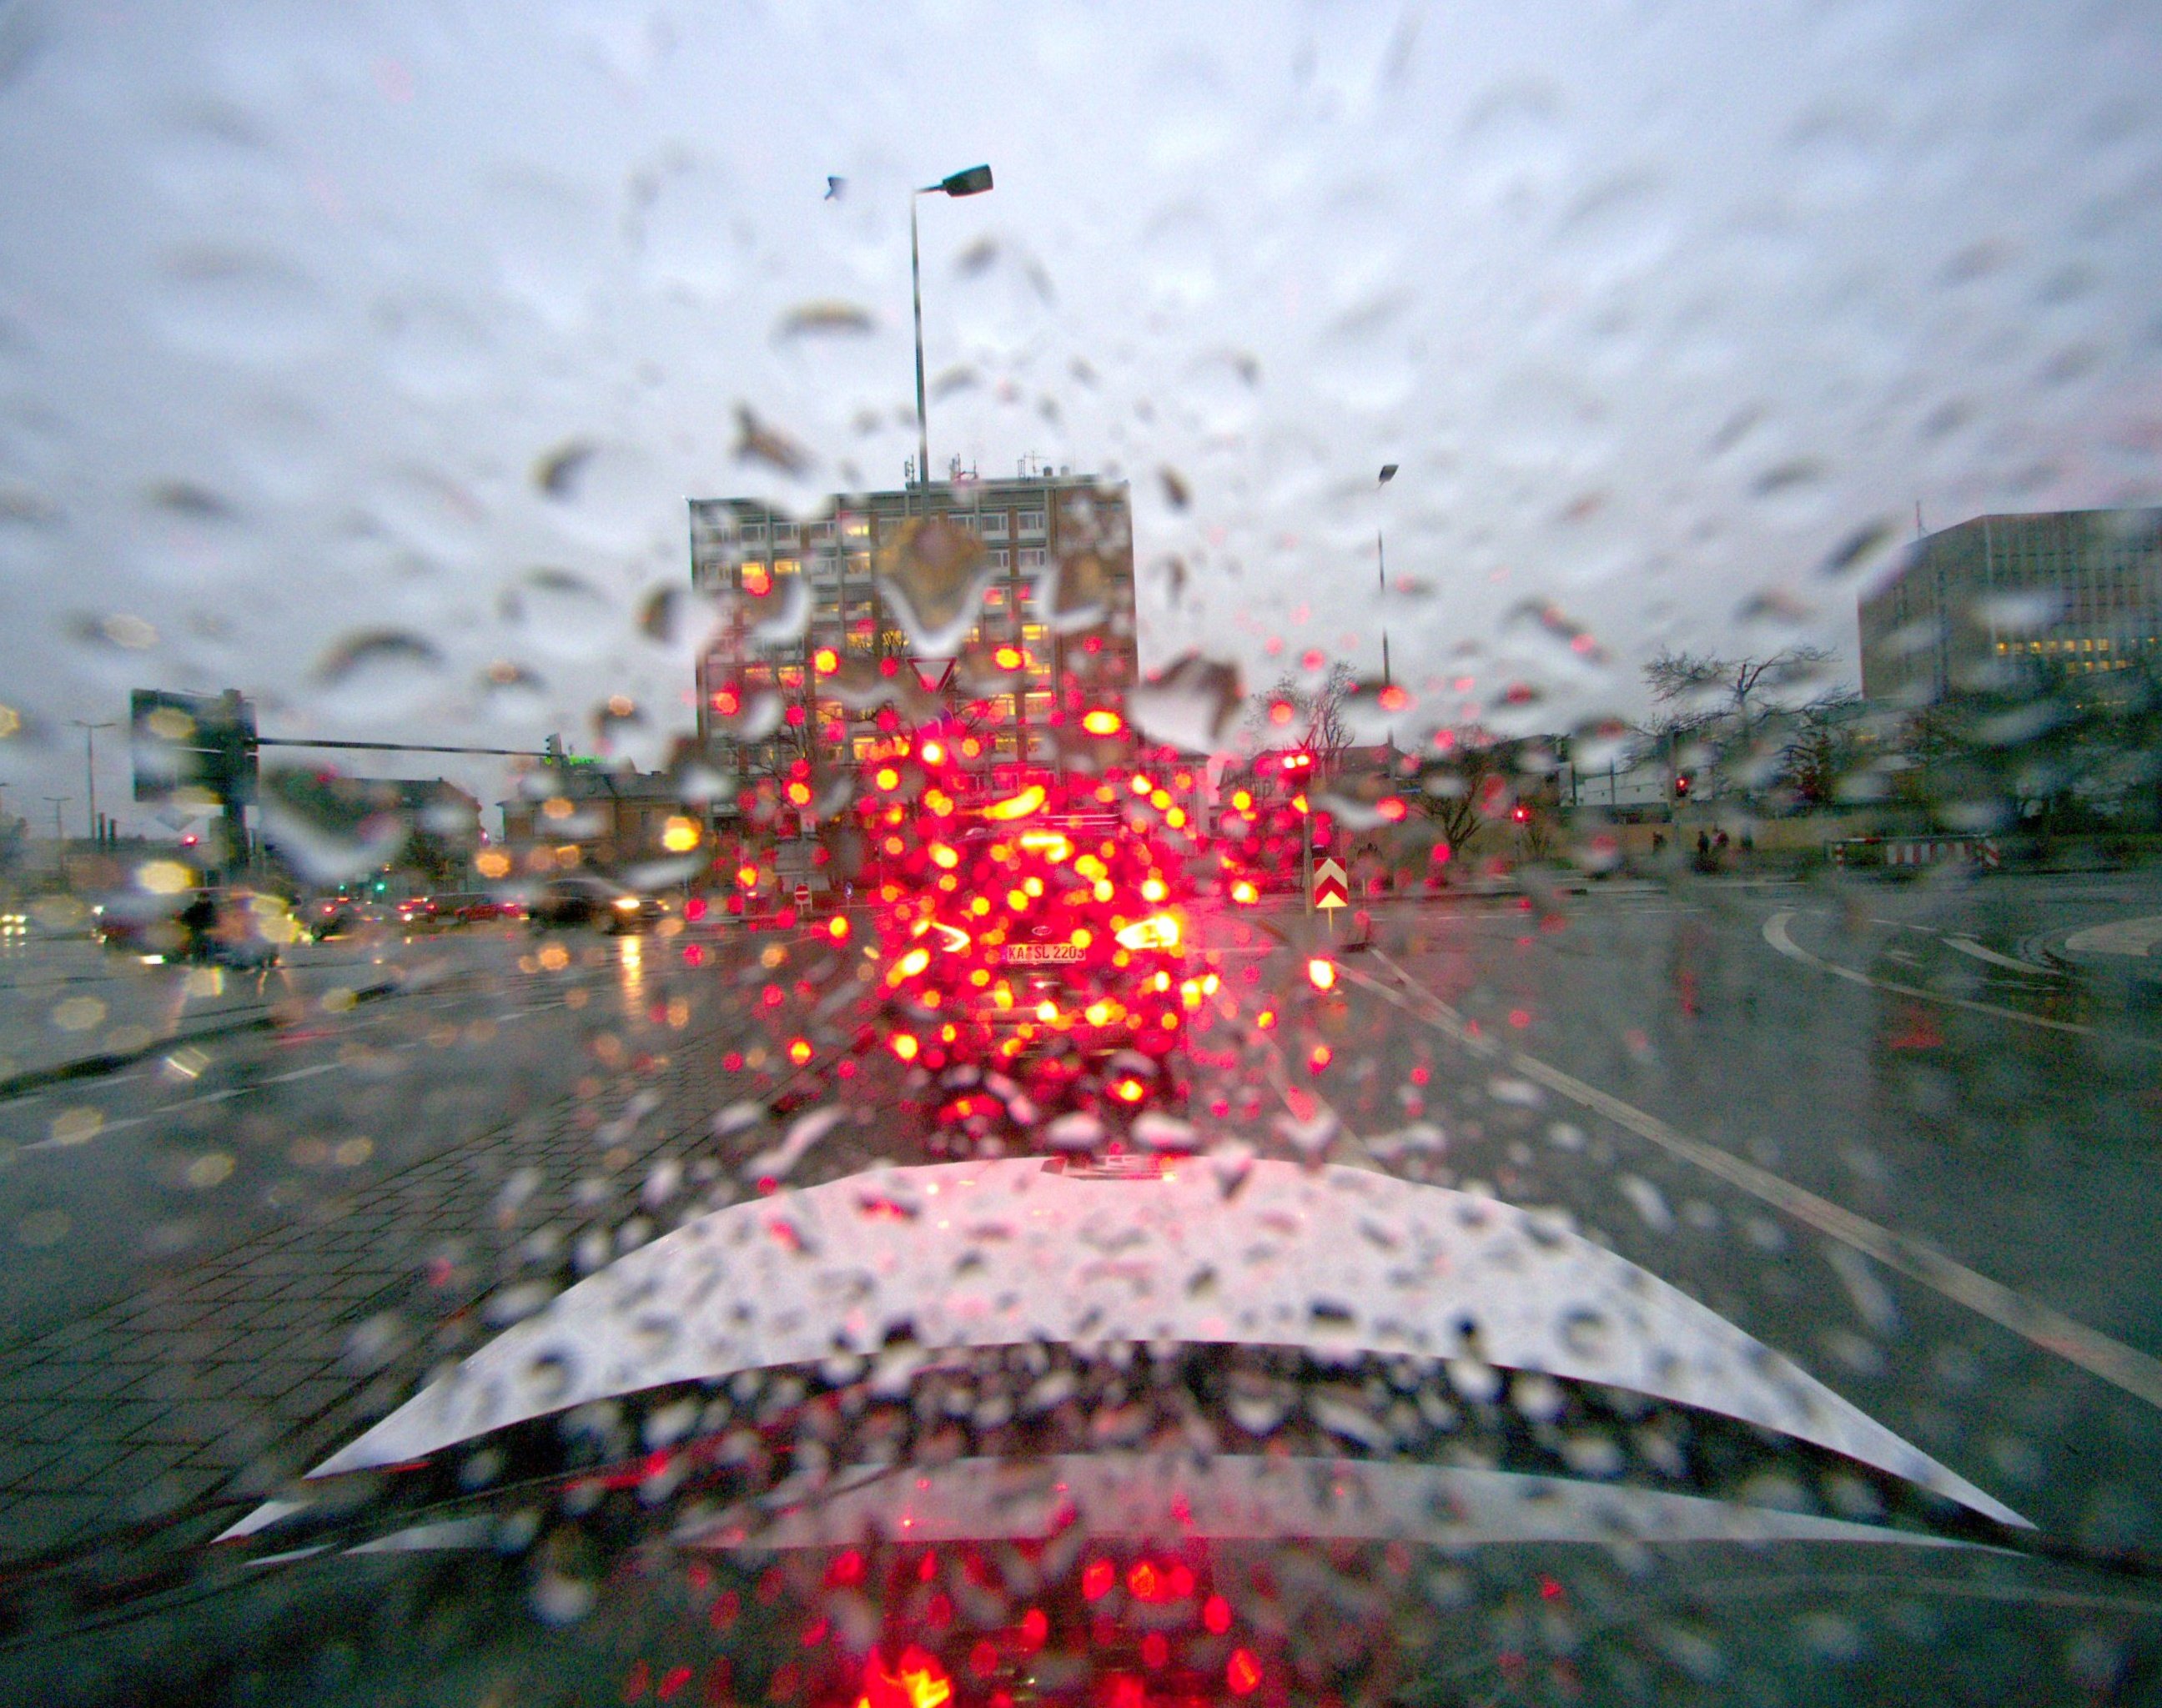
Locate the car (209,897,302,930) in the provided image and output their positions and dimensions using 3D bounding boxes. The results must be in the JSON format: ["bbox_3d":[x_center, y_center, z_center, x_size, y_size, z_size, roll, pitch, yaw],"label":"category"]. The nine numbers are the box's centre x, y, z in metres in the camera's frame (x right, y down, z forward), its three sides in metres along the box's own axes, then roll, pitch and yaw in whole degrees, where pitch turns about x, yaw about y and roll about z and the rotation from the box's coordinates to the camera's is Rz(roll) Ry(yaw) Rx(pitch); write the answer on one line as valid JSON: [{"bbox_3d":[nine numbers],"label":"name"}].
[{"bbox_3d":[-53.143,3.817,52.414,5.114,1.913,2.008,-2,-1,17],"label":"car"}]

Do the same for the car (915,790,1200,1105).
[{"bbox_3d":[-0.075,0.540,6.768,1.641,1.819,4.002,-1,0,2],"label":"car"}]

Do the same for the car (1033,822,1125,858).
[{"bbox_3d":[-0.100,-0.857,51.180,5.516,2.024,2.004,-1,-2,7],"label":"car"}]

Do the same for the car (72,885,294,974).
[{"bbox_3d":[-25.210,2.060,22.908,4.981,2.282,2.268,-2,-2,18],"label":"car"}]

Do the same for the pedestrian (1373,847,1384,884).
[{"bbox_3d":[15.166,0.592,41.526,0.434,1.839,0.462,-2,-2,20],"label":"pedestrian"}]

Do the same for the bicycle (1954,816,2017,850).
[{"bbox_3d":[41.103,-0.947,37.012,1.911,1.423,0.594,-1,-2,10],"label":"bicycle"}]

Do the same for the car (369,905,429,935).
[{"bbox_3d":[-38.541,3.696,46.036,3.368,1.605,1.576,-2,-2,31],"label":"car"}]

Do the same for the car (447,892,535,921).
[{"bbox_3d":[-30.348,2.676,41.891,3.762,1.398,1.570,-1,-2,14],"label":"car"}]

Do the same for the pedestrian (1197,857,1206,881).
[{"bbox_3d":[6.520,0.803,44.082,0.429,1.270,0.443,-1,-2,13],"label":"pedestrian"}]

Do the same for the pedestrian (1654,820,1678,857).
[{"bbox_3d":[28.587,-0.743,39.793,0.620,1.725,0.762,-1,-2,8],"label":"pedestrian"}]

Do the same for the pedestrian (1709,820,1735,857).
[{"bbox_3d":[30.523,-0.716,38.814,0.620,1.725,0.762,-1,-2,8],"label":"pedestrian"}]

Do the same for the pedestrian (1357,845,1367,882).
[{"bbox_3d":[14.412,0.487,41.746,0.434,1.839,0.462,-2,-2,19],"label":"pedestrian"}]

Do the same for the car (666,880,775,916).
[{"bbox_3d":[-16.956,2.071,38.402,4.400,1.580,1.975,-1,-2,15],"label":"car"}]

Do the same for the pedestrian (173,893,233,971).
[{"bbox_3d":[-19.926,1.750,18.491,0.456,1.697,0.801,-2,-2,25],"label":"pedestrian"}]

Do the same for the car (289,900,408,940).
[{"bbox_3d":[-28.827,2.586,32.075,3.800,1.449,1.610,-1,-2,14],"label":"car"}]

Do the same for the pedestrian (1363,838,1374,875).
[{"bbox_3d":[14.443,0.120,40.868,0.454,1.839,0.441,-2,-2,19],"label":"pedestrian"}]

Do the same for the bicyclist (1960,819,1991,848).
[{"bbox_3d":[40.711,-0.933,37.063,0.694,1.246,0.609,-1,-2,10],"label":"bicyclist"}]

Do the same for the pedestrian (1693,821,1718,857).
[{"bbox_3d":[30.563,-0.715,39.847,0.620,1.725,0.762,-1,-2,8],"label":"pedestrian"}]

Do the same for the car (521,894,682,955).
[{"bbox_3d":[-14.333,2.092,24.423,4.037,1.684,1.766,-1,-2,13],"label":"car"}]
